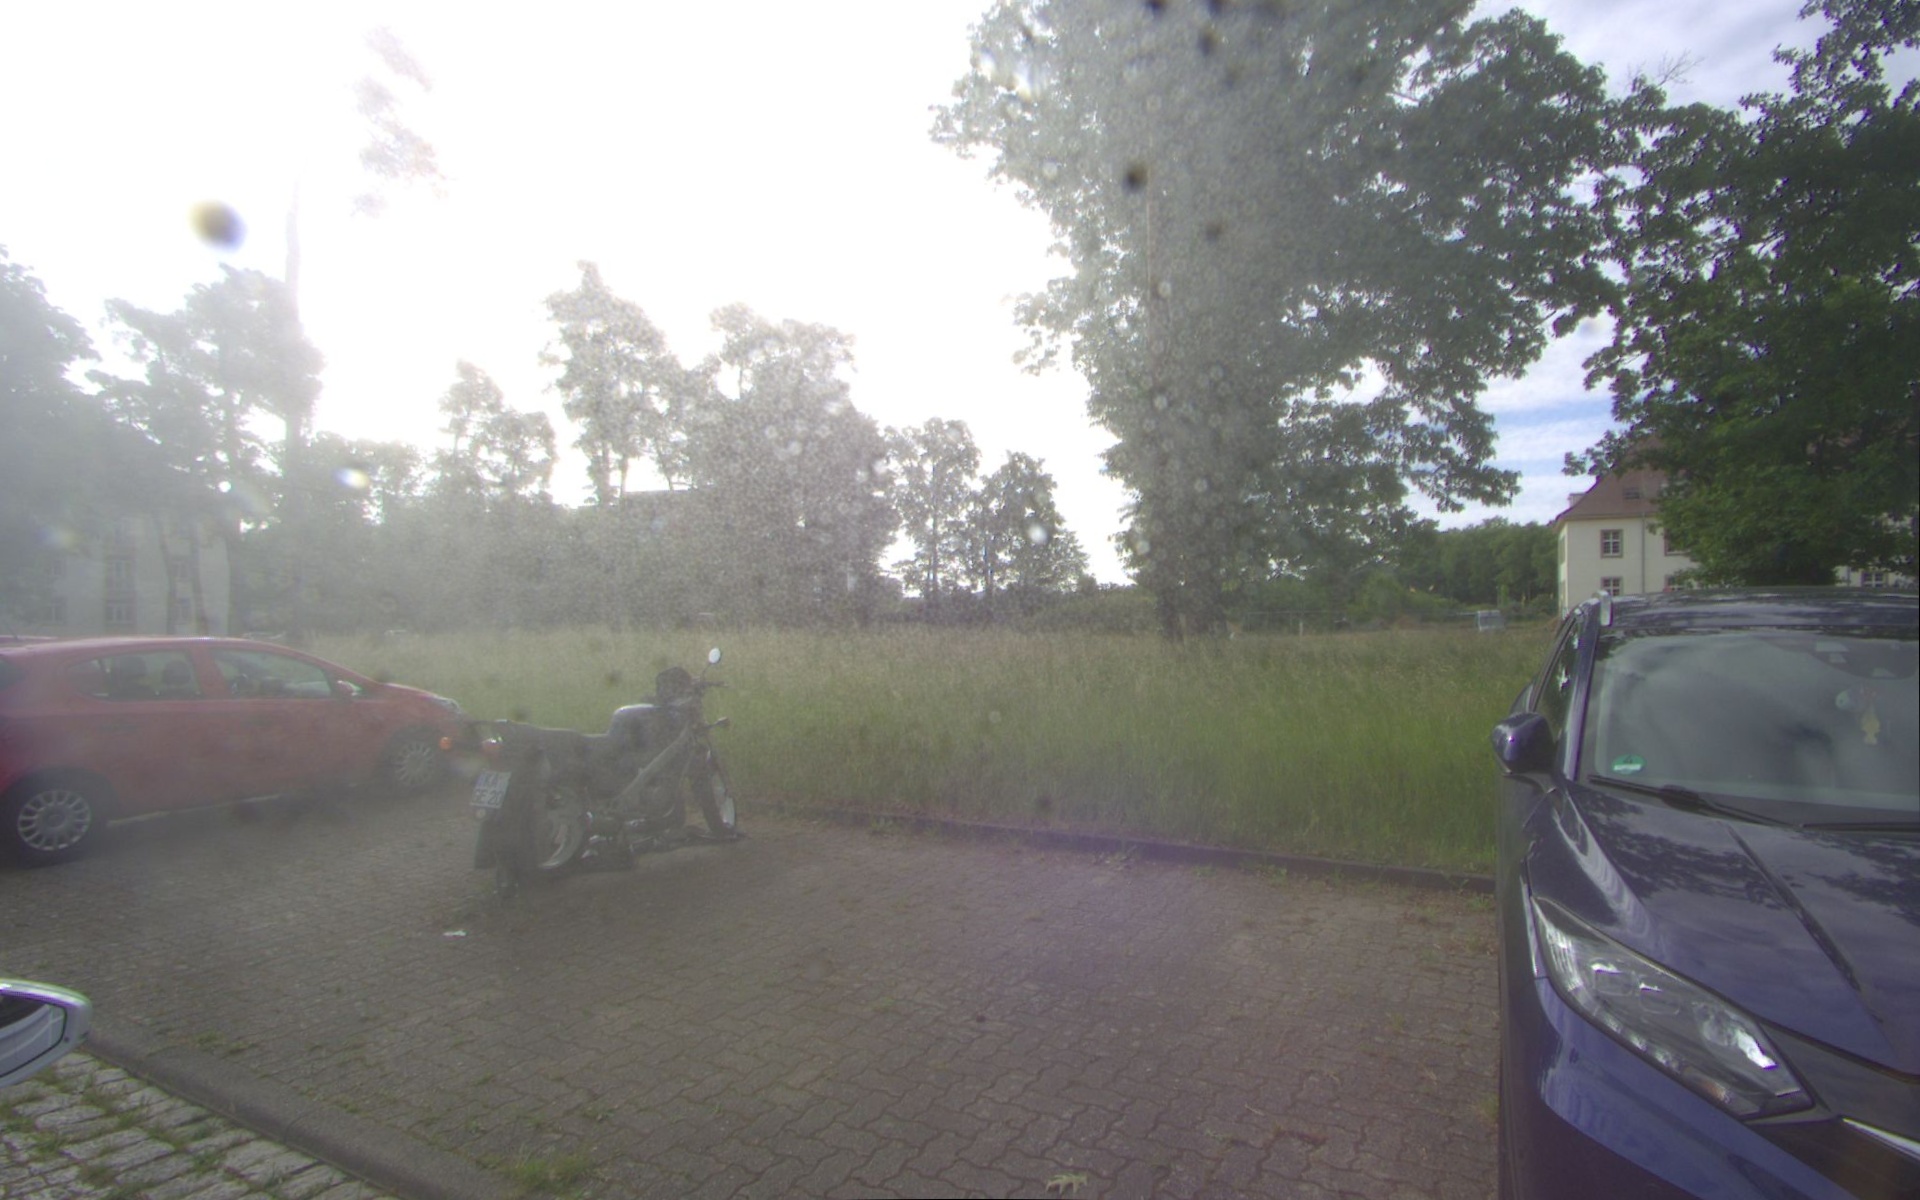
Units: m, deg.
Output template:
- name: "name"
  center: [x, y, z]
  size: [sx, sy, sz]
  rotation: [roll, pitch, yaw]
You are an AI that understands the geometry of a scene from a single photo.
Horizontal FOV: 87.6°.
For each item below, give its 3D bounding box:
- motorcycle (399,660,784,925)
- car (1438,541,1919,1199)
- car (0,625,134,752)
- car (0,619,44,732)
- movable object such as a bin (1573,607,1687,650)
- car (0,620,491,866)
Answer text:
- name: "motorcycle"
  center: [-2.115, 1.030, 6.199]
  size: [0.783, 1.201, 2.326]
  rotation: [-1, 0, 26]
- name: "car"
  center: [2.580, 0.739, 3.048]
  size: [1.766, 1.591, 4.158]
  rotation: [-2, -2, 29]
- name: "car"
  center: [-12.551, 1.105, 11.951]
  size: [1.725, 1.479, 3.787]
  rotation: [-1, 0, 29]
- name: "car"
  center: [-14.919, 1.091, 13.065]
  size: [1.723, 1.573, 4.026]
  rotation: [-1, 0, 27]
- name: "movable object such as a bin"
  center: [43.246, 1.866, 64.729]
  size: [5.911, 2.688, 2.158]
  rotation: [-2, -2, 42]
- name: "car"
  center: [-6.105, 0.960, 8.164]
  size: [1.752, 1.479, 3.821]
  rotation: [-1, 0, 28]
